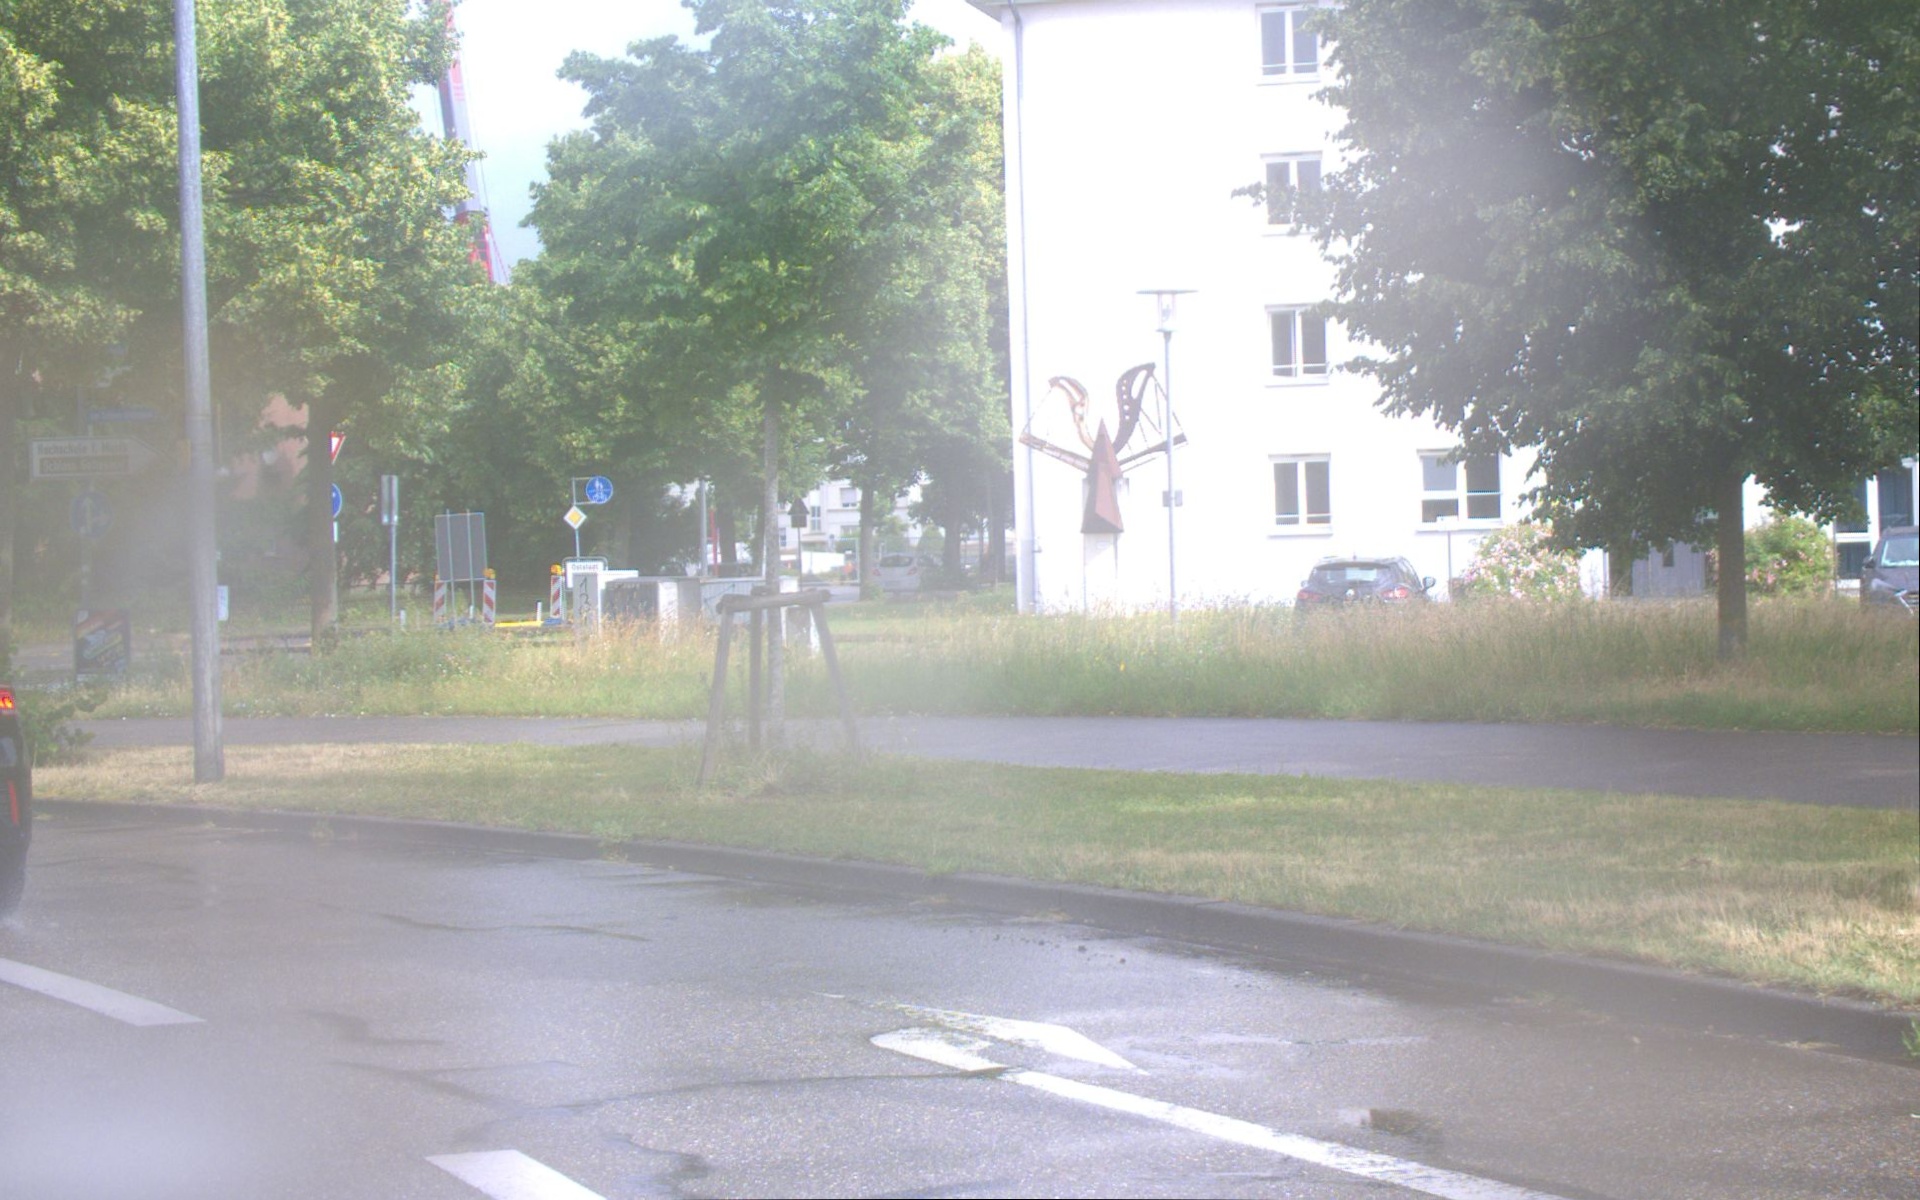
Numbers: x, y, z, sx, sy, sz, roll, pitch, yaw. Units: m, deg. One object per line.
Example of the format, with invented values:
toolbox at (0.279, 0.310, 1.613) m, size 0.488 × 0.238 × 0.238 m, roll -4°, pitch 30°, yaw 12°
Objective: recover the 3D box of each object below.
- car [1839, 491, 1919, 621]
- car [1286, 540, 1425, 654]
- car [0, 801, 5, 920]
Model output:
car at (13.127, -0.646, 47.226) m, size 1.847 × 1.546 × 4.104 m, roll -2°, pitch 3°, yaw 13°
car at (5.704, -0.072, 49.325) m, size 1.671 × 1.477 × 3.738 m, roll -2°, pitch 1°, yaw 11°
car at (-5.677, 0.552, 15.643) m, size 1.897 × 1.612 × 4.001 m, roll -3°, pitch 1°, yaw -25°
